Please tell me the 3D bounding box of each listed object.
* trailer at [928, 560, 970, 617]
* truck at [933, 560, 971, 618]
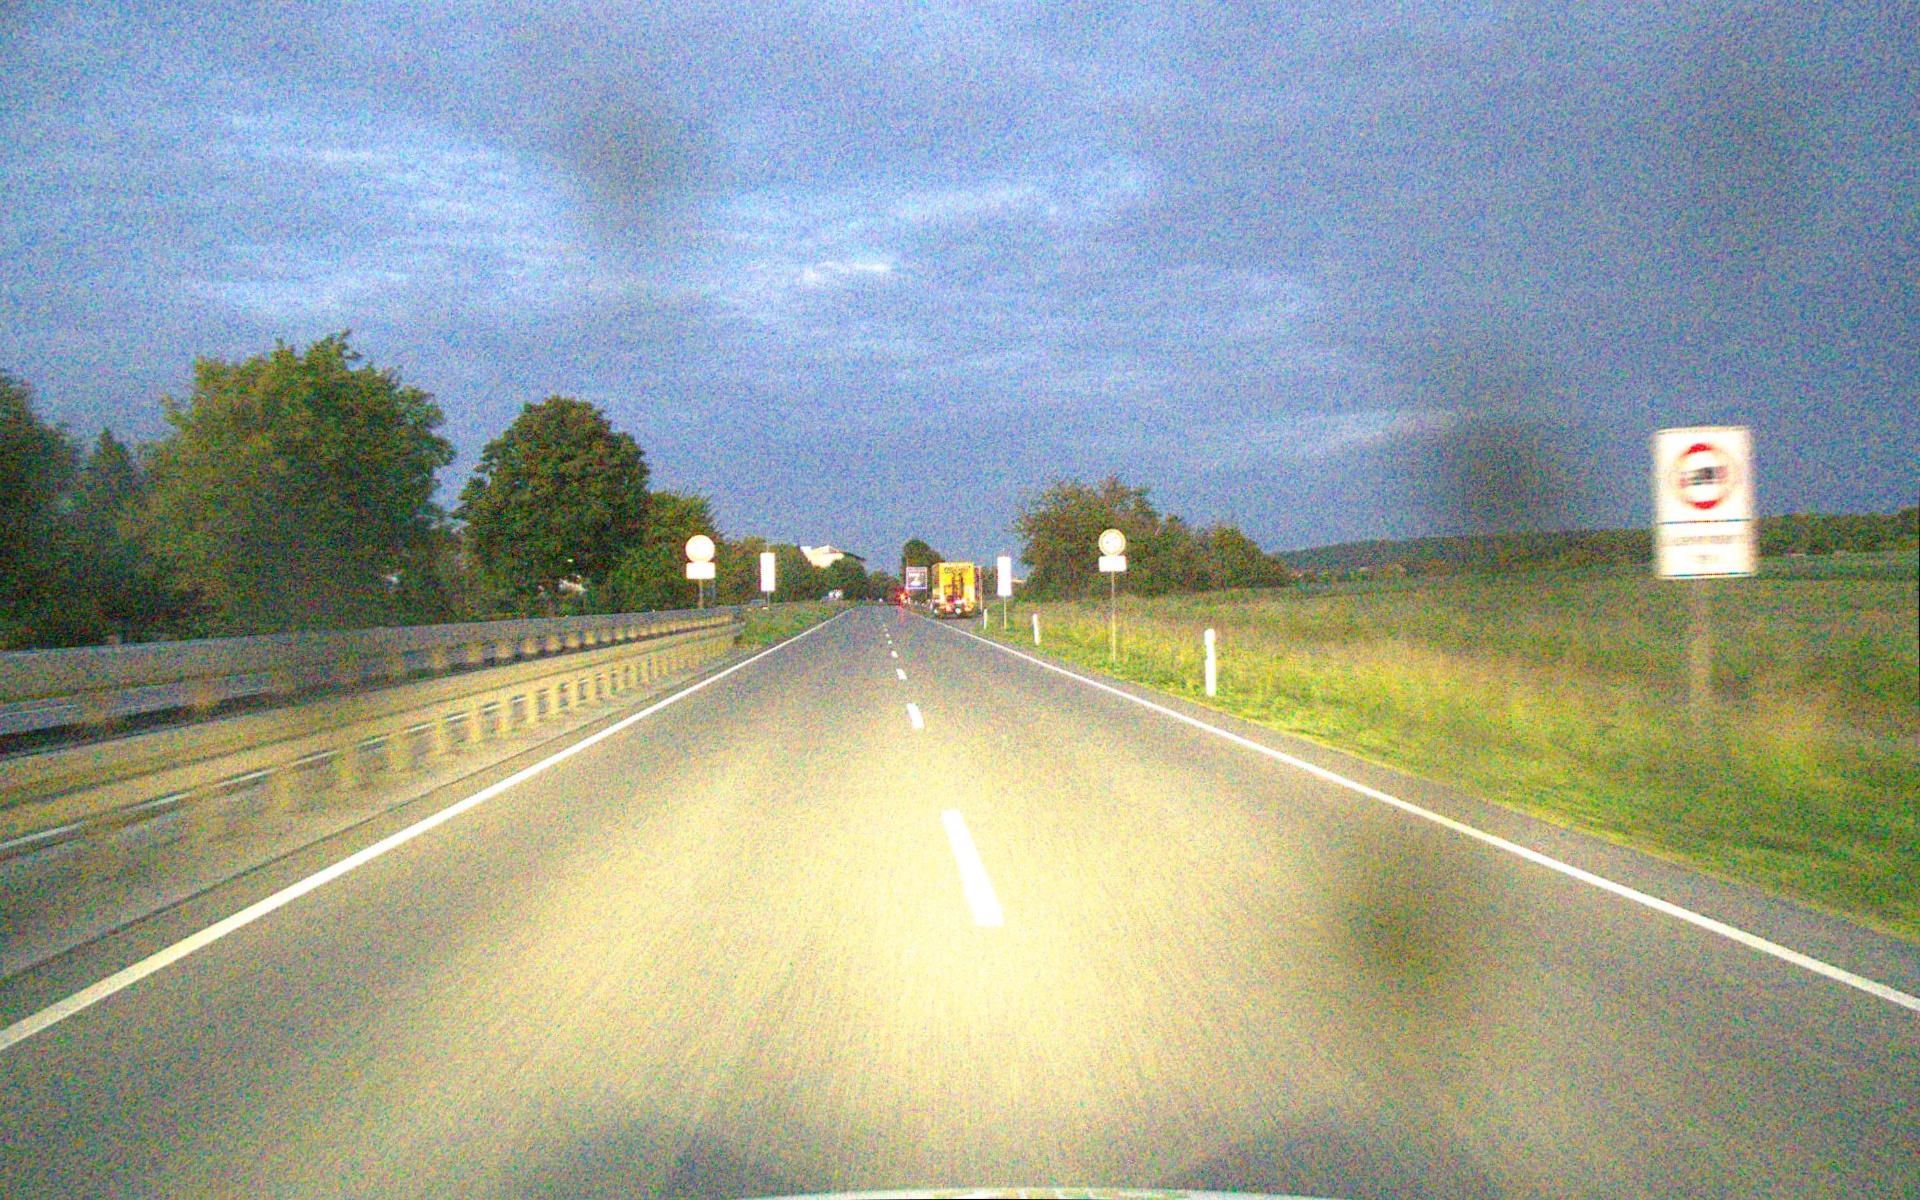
[{"bbox_3d":[-0.934,-0.871,127.529,2.570,4.175,12.929,-1,0,-3],"label":"trailer"},{"bbox_3d":[-0.608,-0.826,120.705,2.527,4.142,6.127,0,1,-2],"label":"truck"}]
